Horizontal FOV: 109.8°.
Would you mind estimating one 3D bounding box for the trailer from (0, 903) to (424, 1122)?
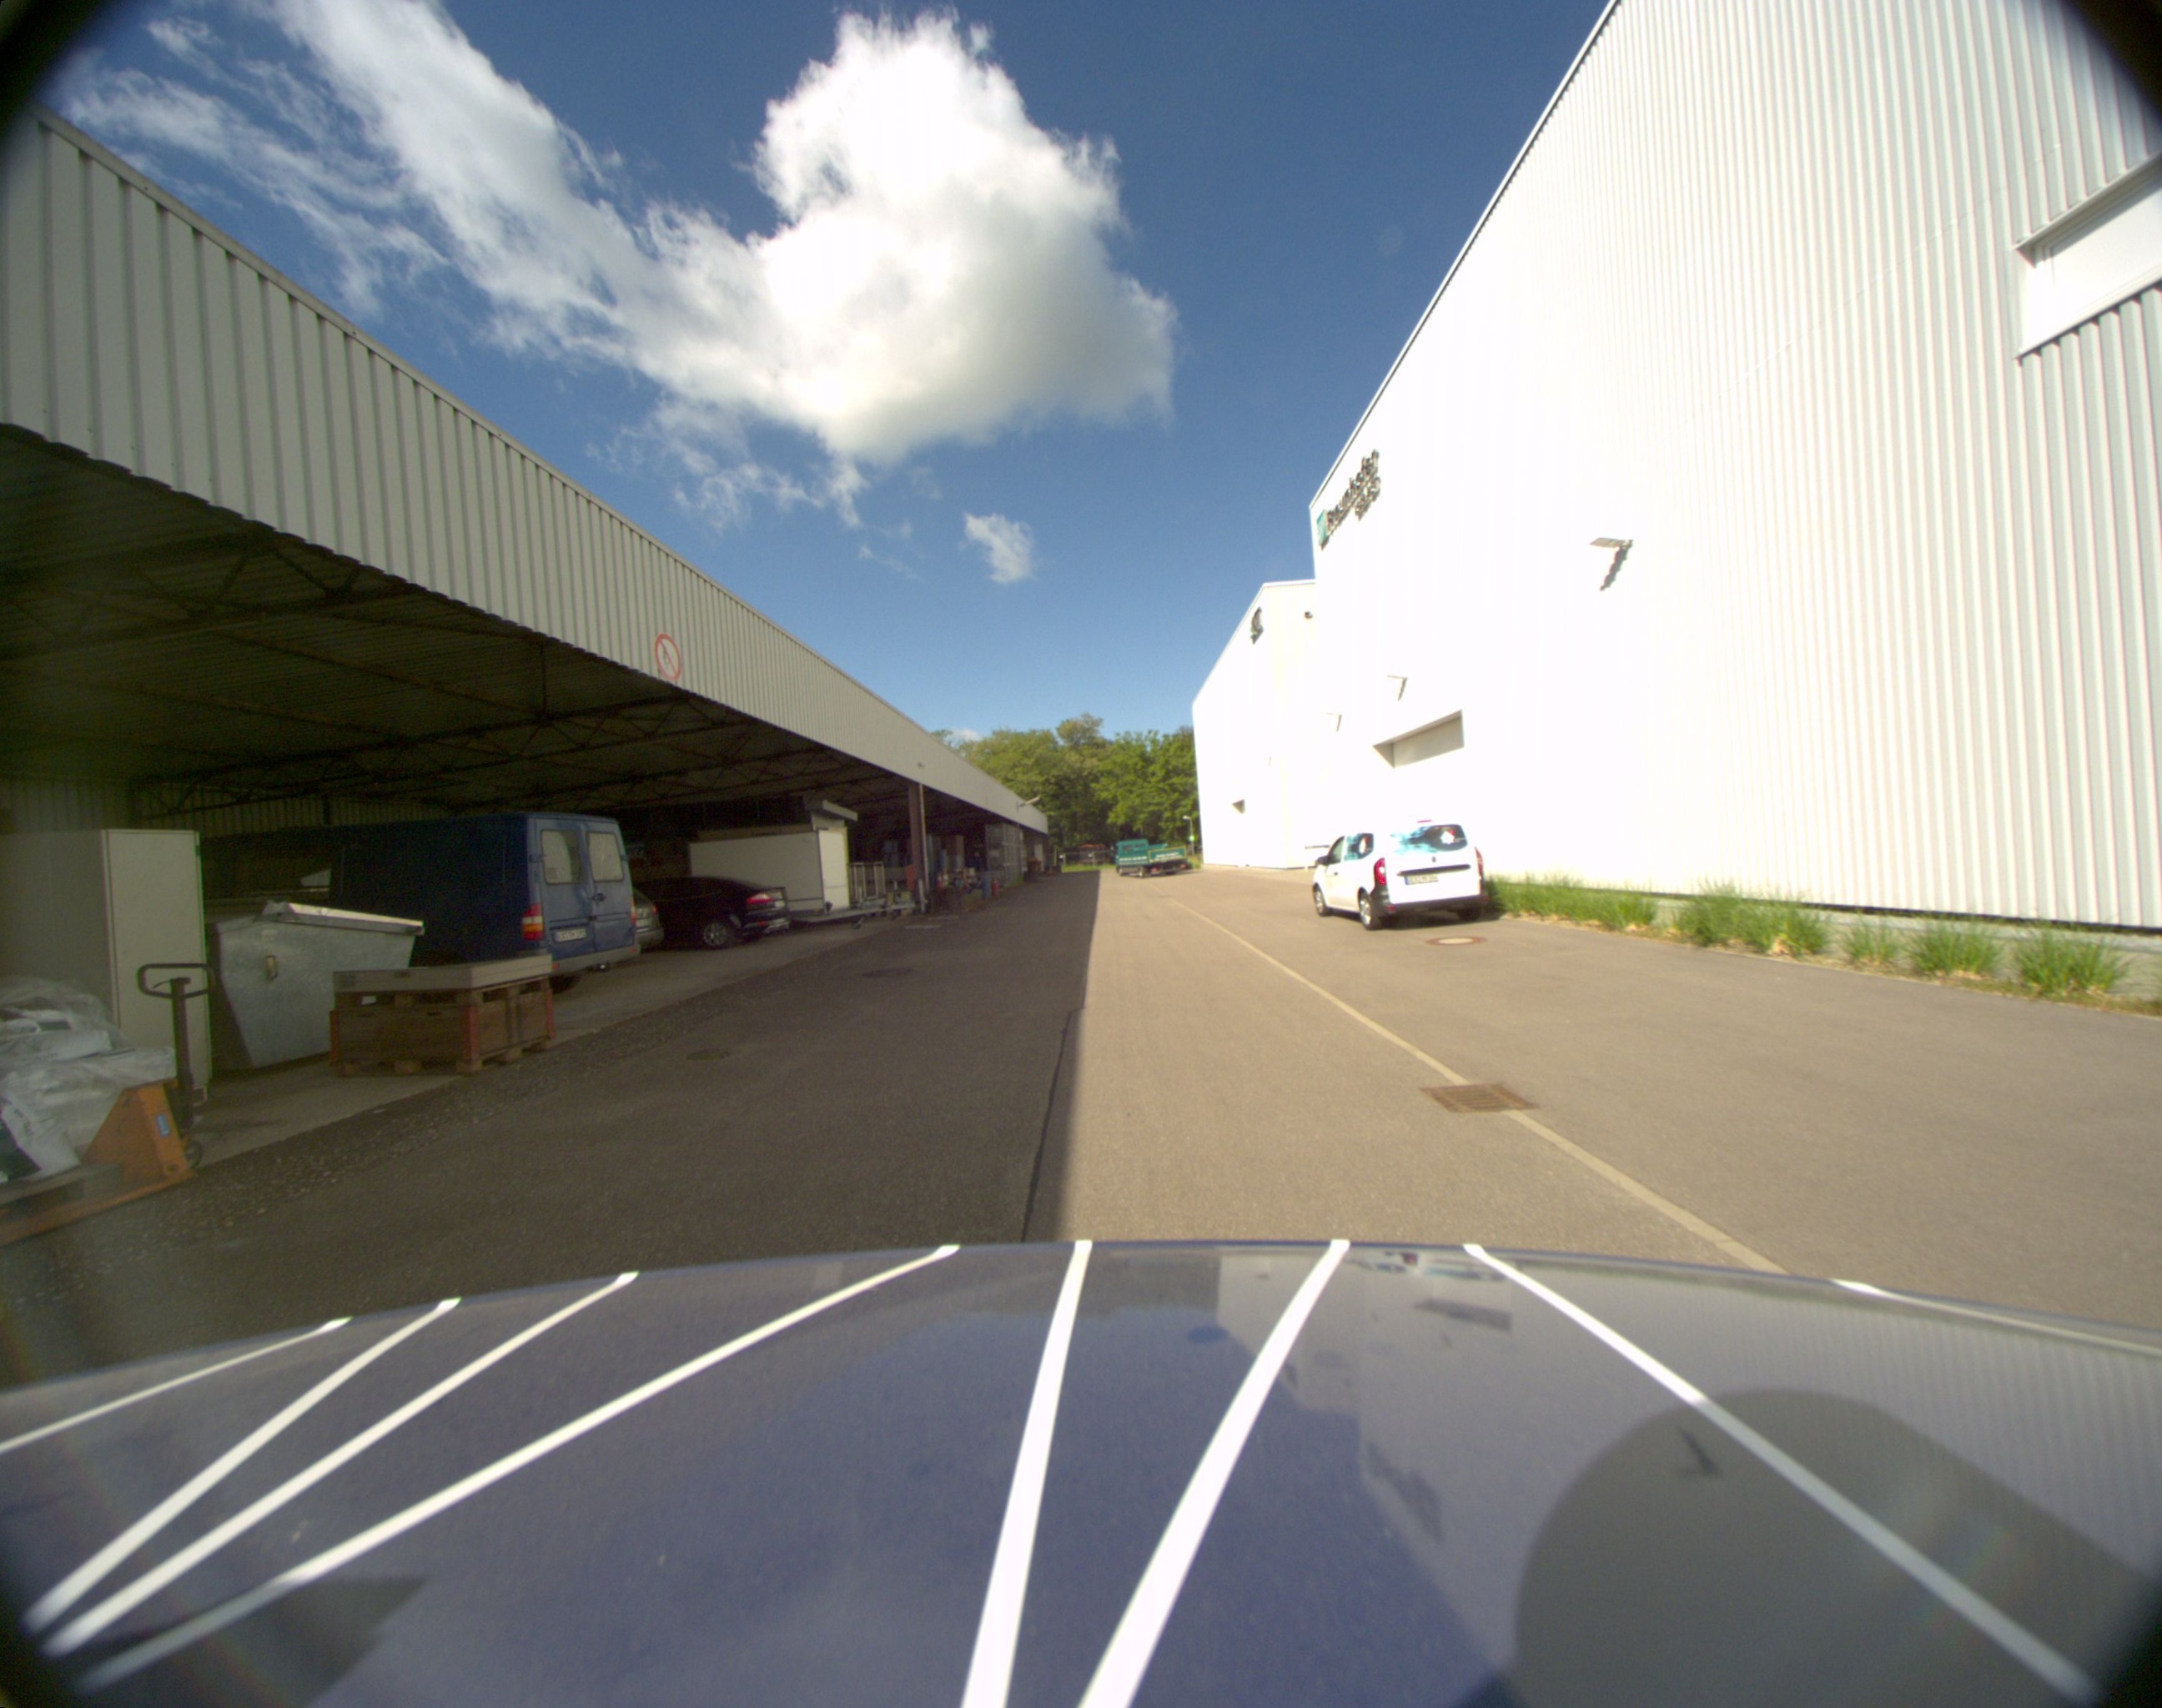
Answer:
[{"bbox_3d":[-7.453,1.263,6.539,2.099,1.454,1.642,-3,1,5],"label":"trailer"}]

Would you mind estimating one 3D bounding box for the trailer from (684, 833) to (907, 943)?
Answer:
[{"bbox_3d":[-6.647,0.764,17.975,4.552,2.321,1.689,-2,0,2],"label":"trailer"}]

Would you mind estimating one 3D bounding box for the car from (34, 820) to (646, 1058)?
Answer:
[{"bbox_3d":[-8.522,0.909,9.167,5.229,2.284,2.084,-3,1,1],"label":"car"}]

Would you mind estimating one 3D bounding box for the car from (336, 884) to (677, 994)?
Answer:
[{"bbox_3d":[-9.171,1.322,12.390,4.117,1.445,1.850,-2,1,1],"label":"car"}]

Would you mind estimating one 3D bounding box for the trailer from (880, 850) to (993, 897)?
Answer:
[{"bbox_3d":[-6.839,0.921,36.276,4.828,1.985,2.047,-2,1,4],"label":"trailer"}]

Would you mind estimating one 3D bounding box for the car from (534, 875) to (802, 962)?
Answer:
[{"bbox_3d":[-8.203,1.253,15.423,4.355,1.425,1.864,-2,1,-2],"label":"car"}]

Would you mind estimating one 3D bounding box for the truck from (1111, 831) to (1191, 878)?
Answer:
[{"bbox_3d":[4.562,0.120,51.783,2.589,2.701,9.687,-6,0,-11],"label":"truck"}]

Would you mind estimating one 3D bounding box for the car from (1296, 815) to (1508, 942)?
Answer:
[{"bbox_3d":[5.578,0.376,13.981,1.933,1.779,4.598,-5,0,2],"label":"car"}]

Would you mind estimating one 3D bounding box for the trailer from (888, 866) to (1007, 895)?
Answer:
[{"bbox_3d":[-6.878,1.371,39.616,5.748,1.126,2.009,-3,0,0],"label":"trailer"}]

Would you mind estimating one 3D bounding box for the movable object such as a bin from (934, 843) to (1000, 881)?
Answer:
[{"bbox_3d":[-8.664,0.646,57.996,4.626,2.706,2.000,-2,-1,0],"label":"movable object such as a bin"}]

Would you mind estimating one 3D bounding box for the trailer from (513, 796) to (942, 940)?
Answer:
[{"bbox_3d":[-9.239,0.363,20.561,10.317,3.276,2.675,-2,0,2],"label":"trailer"}]

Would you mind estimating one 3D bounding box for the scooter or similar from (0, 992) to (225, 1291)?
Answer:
[{"bbox_3d":[-4.926,1.327,3.297,0.521,1.128,1.592,-3,1,1],"label":"scooter or similar"}]
